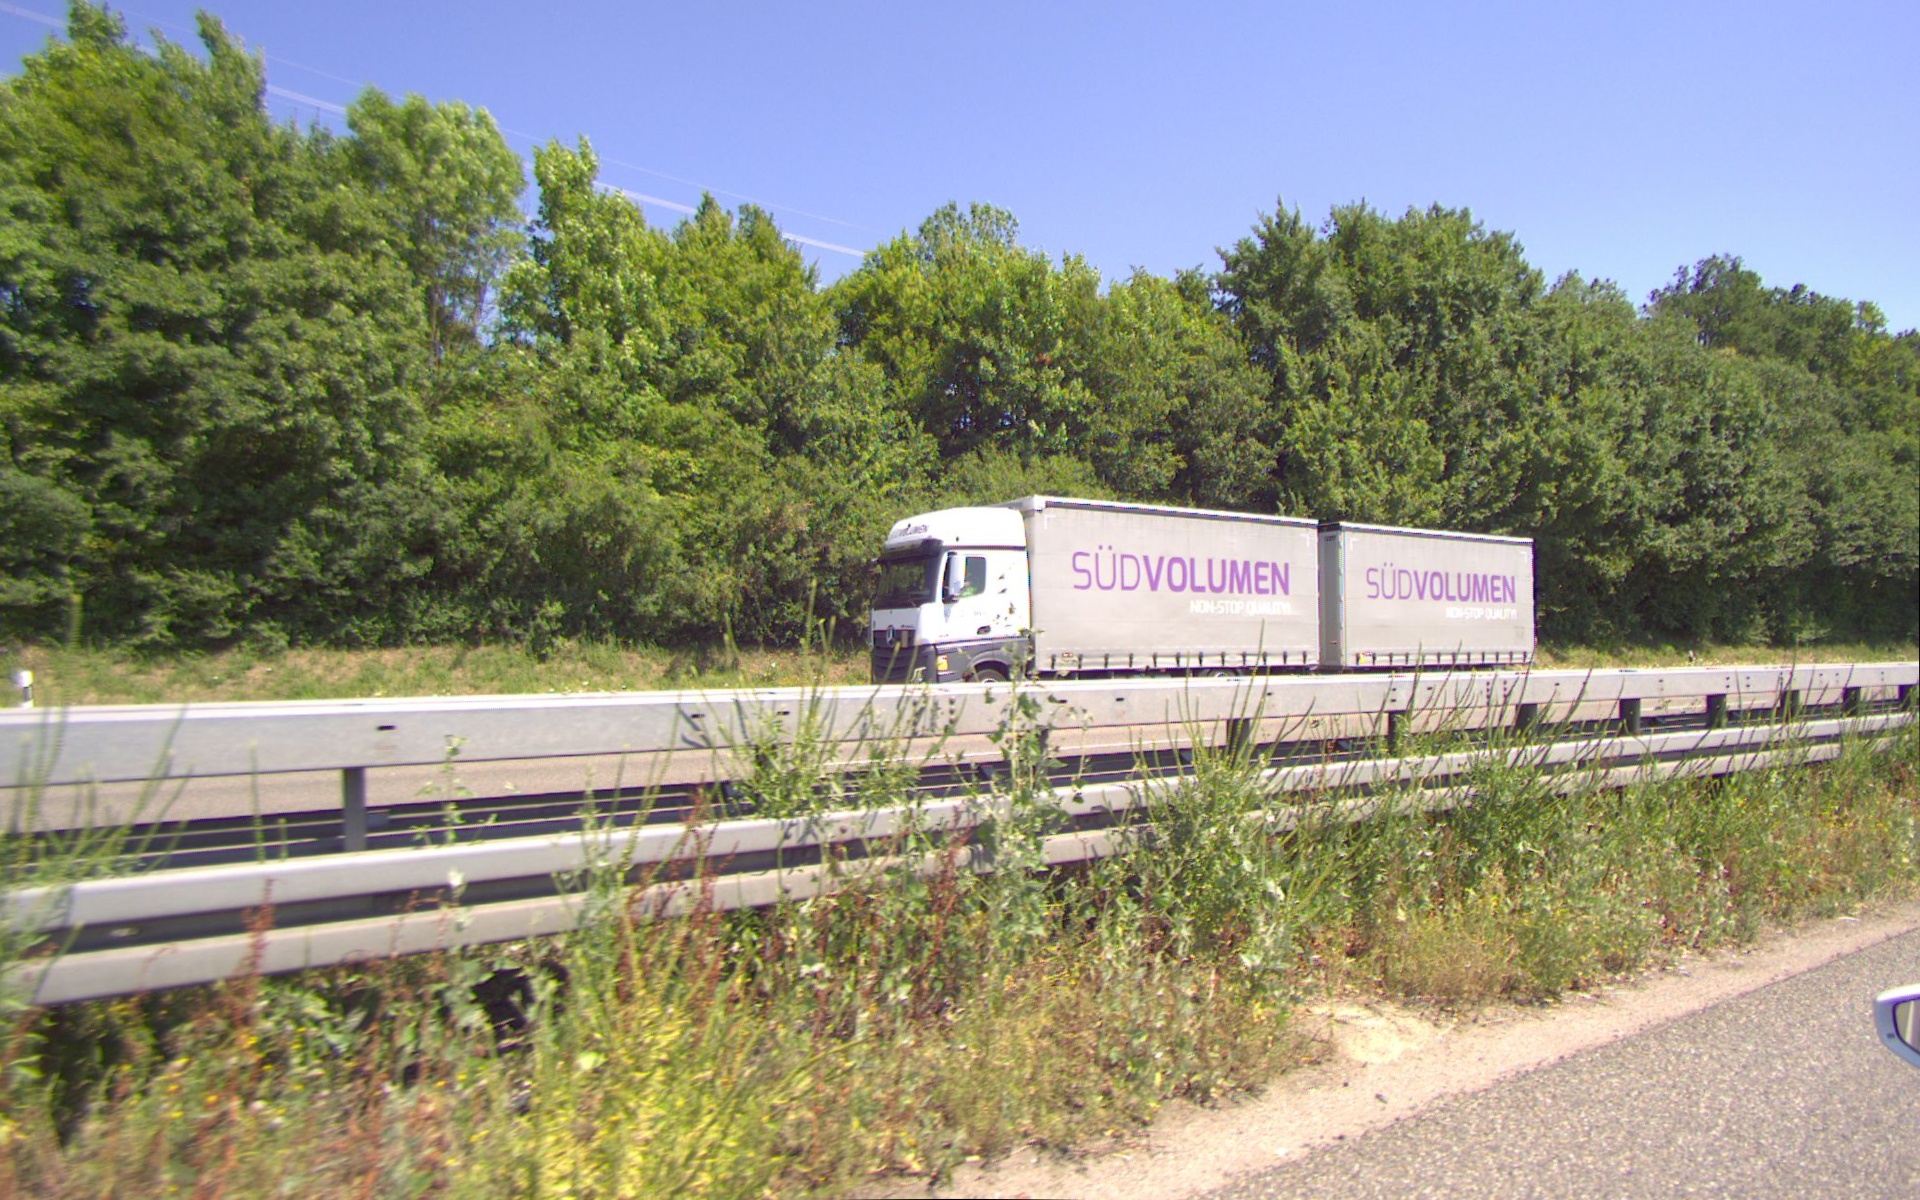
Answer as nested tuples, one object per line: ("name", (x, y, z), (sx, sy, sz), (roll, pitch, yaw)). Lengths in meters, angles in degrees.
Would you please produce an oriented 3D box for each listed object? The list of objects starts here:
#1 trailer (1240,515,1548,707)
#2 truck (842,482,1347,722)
("trailer", (11.430, 0.339, 26.239), (7.881, 4.336, 3.435), (2, 0, -32))
("truck", (3.222, 0.181, 21.309), (10.999, 4.047, 3.435), (1, -2, -32))
